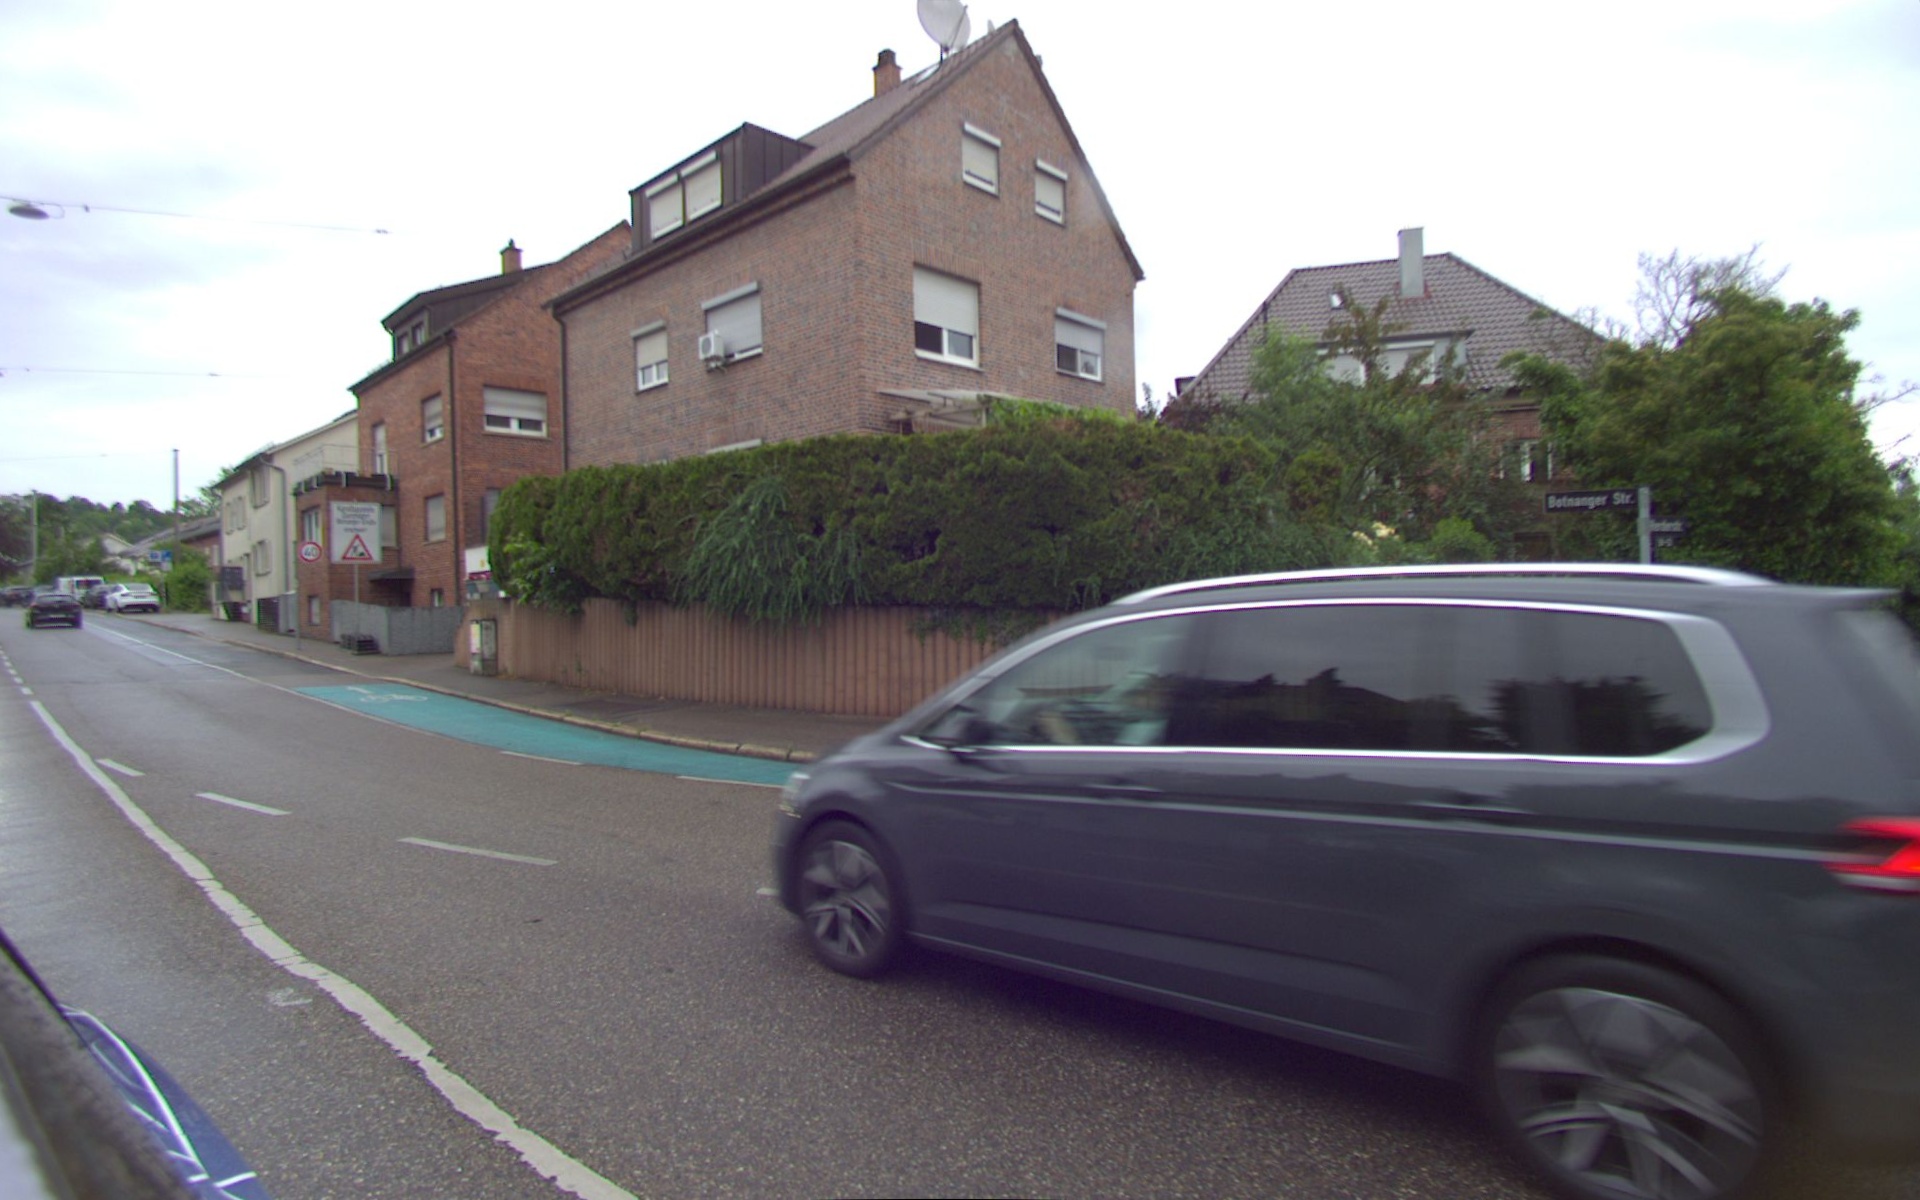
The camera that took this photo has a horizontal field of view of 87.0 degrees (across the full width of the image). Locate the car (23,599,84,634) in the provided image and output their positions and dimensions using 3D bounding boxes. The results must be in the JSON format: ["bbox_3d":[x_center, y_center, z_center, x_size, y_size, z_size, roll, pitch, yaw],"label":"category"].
[{"bbox_3d":[-39.110,0.686,43.657,1.893,1.457,3.722,0,0,-43],"label":"car"}]

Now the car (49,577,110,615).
[{"bbox_3d":[-57.326,-0.255,65.892,4.542,2.303,2.230,0,1,39],"label":"car"}]

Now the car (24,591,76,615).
[{"bbox_3d":[-61.856,0.208,68.790,4.000,1.501,1.636,-1,1,33],"label":"car"}]

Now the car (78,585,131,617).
[{"bbox_3d":[-52.584,0.053,62.157,4.260,1.817,1.792,0,1,41],"label":"car"}]

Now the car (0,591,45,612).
[{"bbox_3d":[-66.816,0.097,72.016,3.852,1.407,1.635,-1,1,35],"label":"car"}]

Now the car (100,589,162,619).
[{"bbox_3d":[-46.495,0.220,56.721,4.260,1.577,1.922,0,1,41],"label":"car"}]

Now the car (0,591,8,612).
[{"bbox_3d":[-71.640,0.148,74.386,3.893,1.501,1.606,-1,1,35],"label":"car"}]

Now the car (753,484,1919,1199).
[{"bbox_3d":[1.281,0.668,3.784,4.169,1.693,1.830,-1,-3,40],"label":"car"}]
